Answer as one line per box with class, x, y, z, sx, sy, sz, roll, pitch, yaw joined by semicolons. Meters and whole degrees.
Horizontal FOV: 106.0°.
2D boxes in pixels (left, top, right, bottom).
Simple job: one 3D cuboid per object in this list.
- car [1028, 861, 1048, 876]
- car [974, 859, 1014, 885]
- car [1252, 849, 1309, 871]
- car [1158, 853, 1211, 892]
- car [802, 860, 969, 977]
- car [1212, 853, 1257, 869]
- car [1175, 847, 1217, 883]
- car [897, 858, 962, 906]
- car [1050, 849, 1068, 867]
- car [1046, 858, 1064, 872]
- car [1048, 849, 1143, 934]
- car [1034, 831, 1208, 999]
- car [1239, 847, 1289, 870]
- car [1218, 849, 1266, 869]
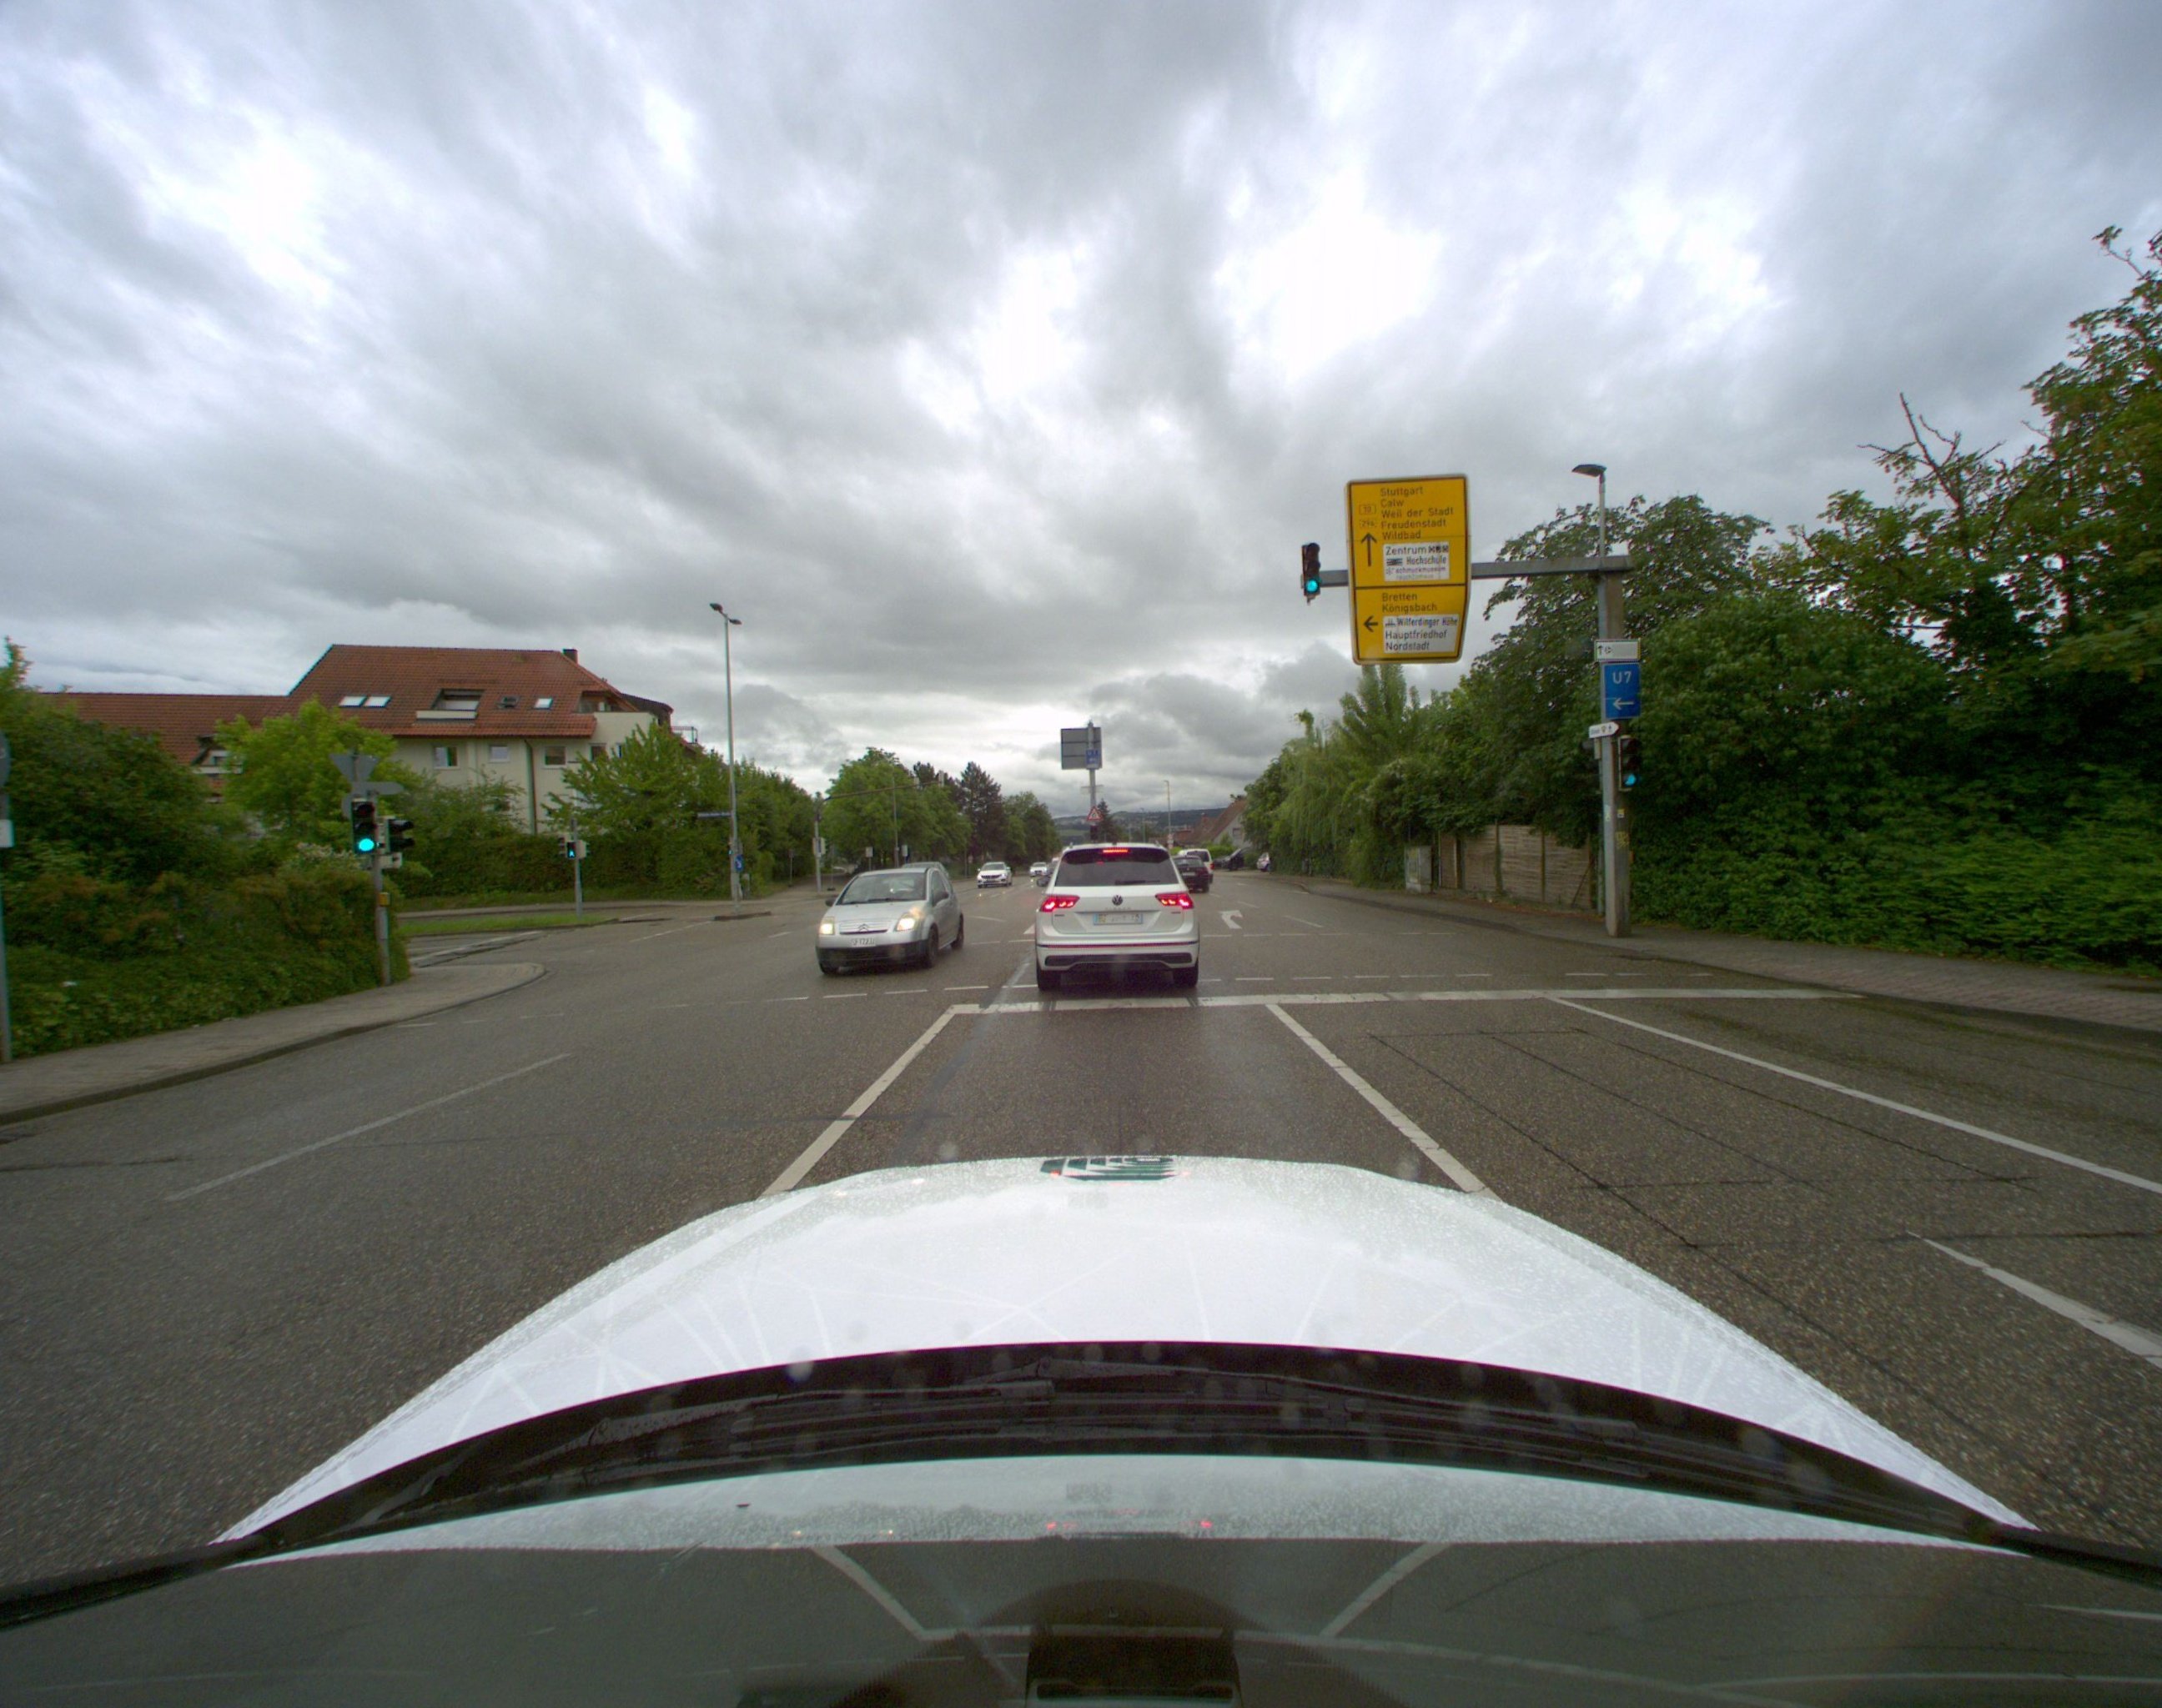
car;-4.303;1.462;82.607;1.740;1.397;3.802;-2;0;0
car;-5.279;1.080;49.867;1.961;1.454;4.308;0;0;0
car;14.715;0.458;60.297;3.708;1.395;1.725;-2;-1;-6
car;4.116;0.711;32.816;1.674;1.460;3.802;-1;0;1
car;-2.892;0.891;12.809;1.633;1.460;3.519;-3;0;1
car;13.707;0.620;72.782;3.675;1.370;1.519;-1;-2;0
car;6.164;0.567;44.030;1.706;1.758;3.802;-2;0;1
car;-5.661;1.003;30.799;1.694;1.599;3.550;-2;0;0
car;-3.184;0.588;119.902;2.289;2.528;5.775;-2;0;1
car;-3.077;1.310;97.675;1.769;1.502;4.473;-4;0;1
car;0.371;0.716;17.594;1.791;1.589;3.928;-1;0;2
car;0.462;0.624;10.526;1.756;1.696;4.274;-1;0;1
car;14.729;0.331;65.705;3.617;1.746;1.707;-2;1;-2
car;13.457;0.408;68.065;3.618;1.626;1.790;-1;0;-2
